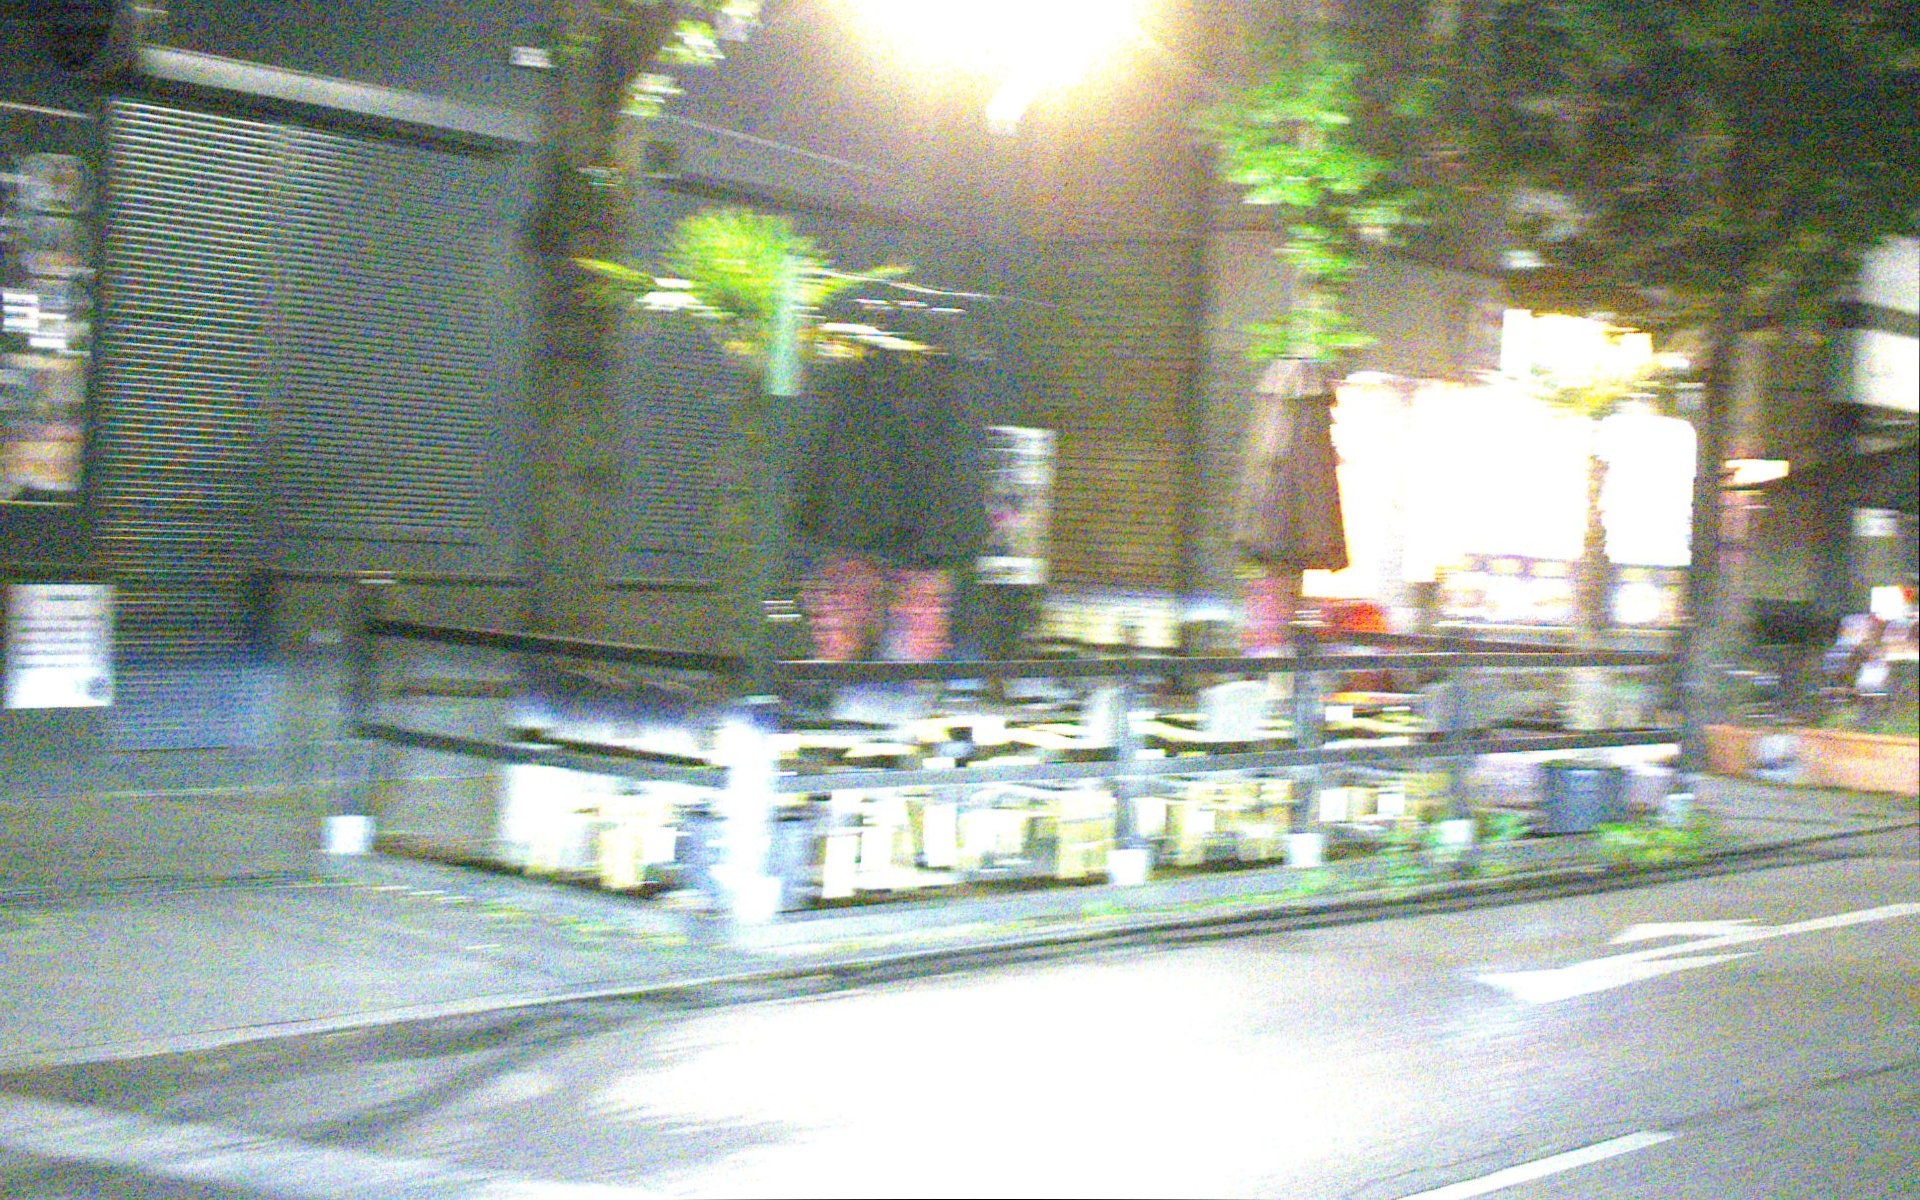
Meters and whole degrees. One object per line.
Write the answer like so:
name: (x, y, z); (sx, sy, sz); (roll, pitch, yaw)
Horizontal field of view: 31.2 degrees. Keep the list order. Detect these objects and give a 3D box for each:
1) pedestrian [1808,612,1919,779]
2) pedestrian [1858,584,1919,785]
pedestrian: (6.575, 0.682, 24.978); (0.575, 1.160, 0.677); (3, 1, 31)
pedestrian: (6.736, 0.589, 24.055); (0.677, 1.373, 0.575); (3, 1, 31)
